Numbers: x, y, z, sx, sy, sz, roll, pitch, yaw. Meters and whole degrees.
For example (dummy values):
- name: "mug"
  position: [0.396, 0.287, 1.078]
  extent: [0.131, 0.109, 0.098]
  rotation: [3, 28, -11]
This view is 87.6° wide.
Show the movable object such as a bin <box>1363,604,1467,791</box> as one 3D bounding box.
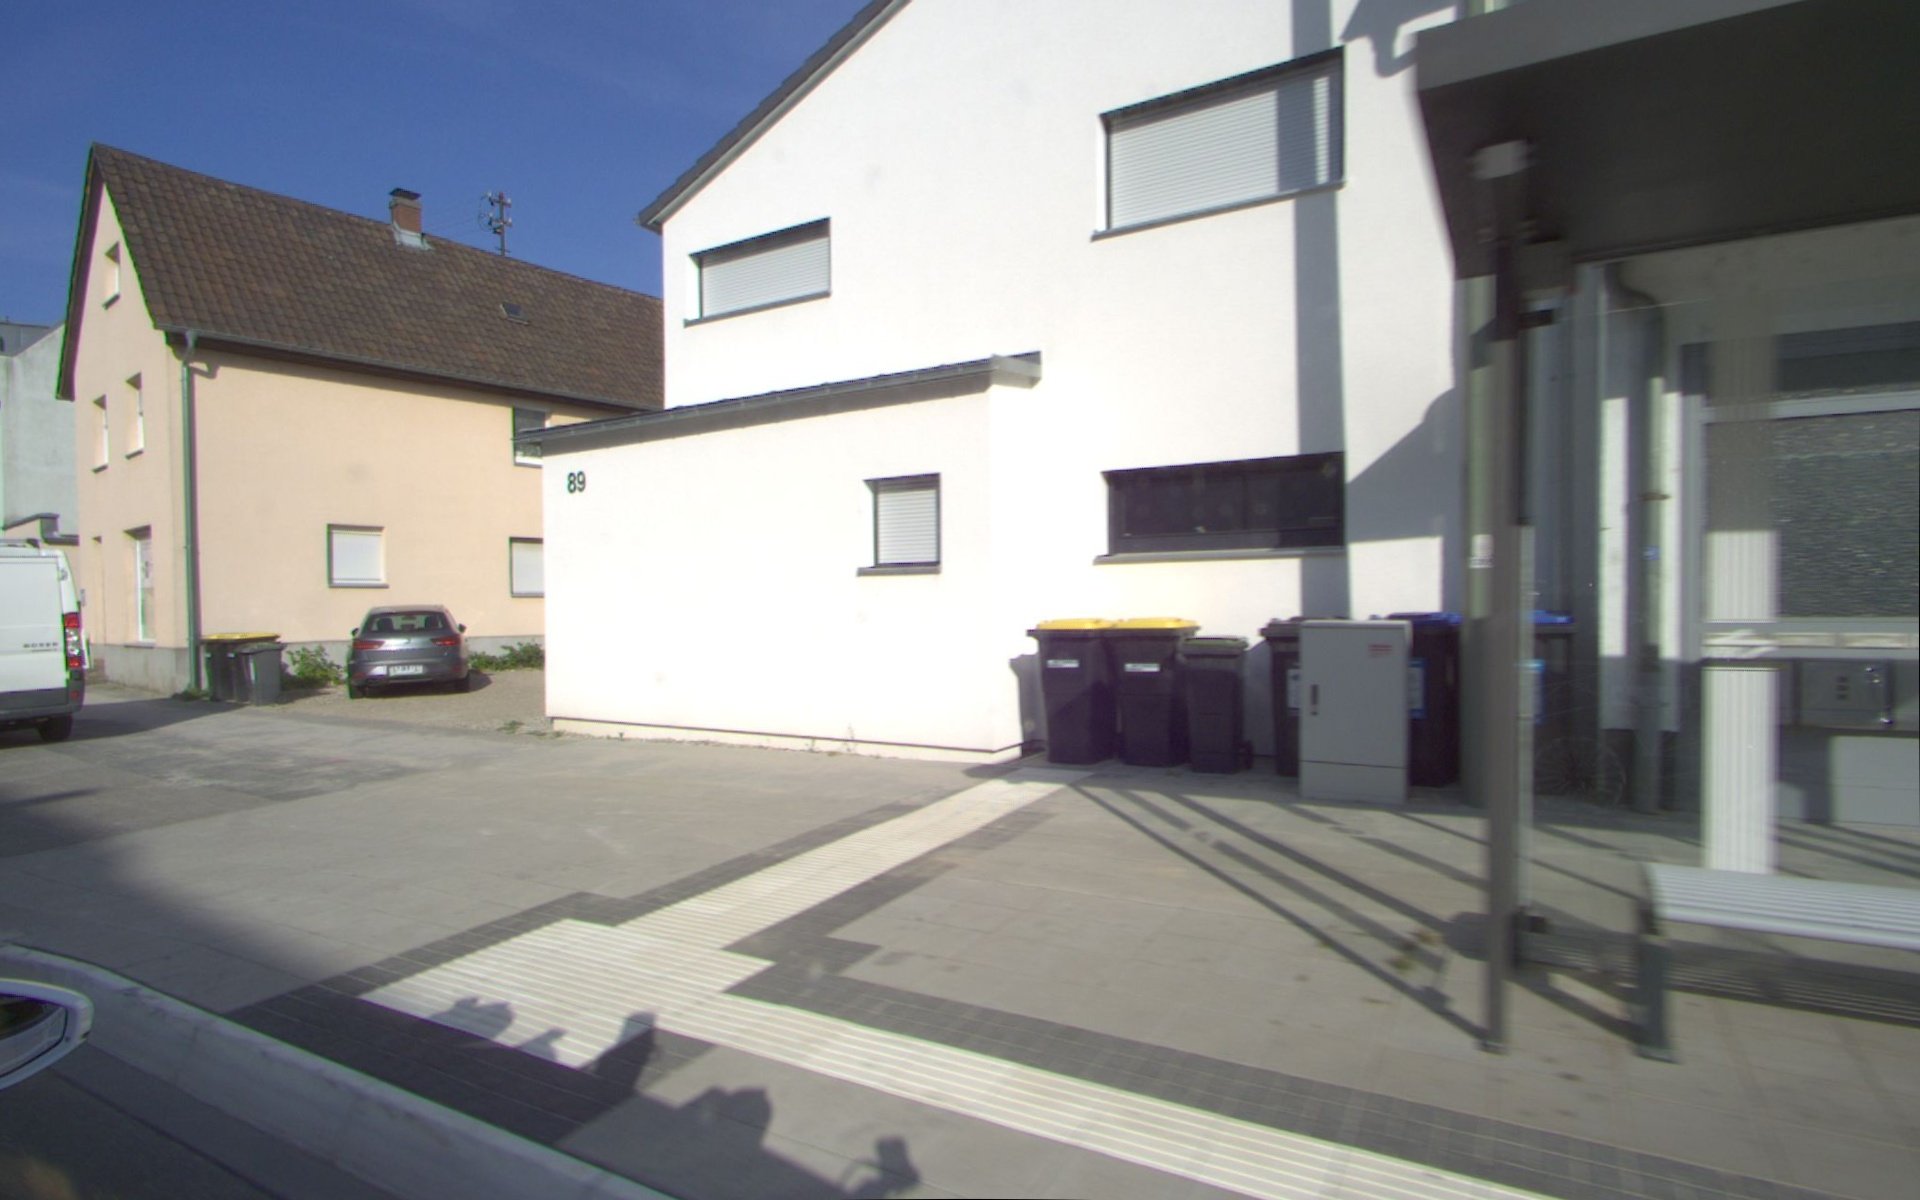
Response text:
- name: "movable object such as a bin"
  position: [2.930, 0.588, 6.428]
  extent: [0.550, 1.108, 0.695]
  rotation: [0, 1, 30]

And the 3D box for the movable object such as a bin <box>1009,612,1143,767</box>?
- name: "movable object such as a bin"
  position: [0.915, 0.656, 7.807]
  extent: [0.756, 1.108, 0.810]
  rotation: [0, 1, 32]

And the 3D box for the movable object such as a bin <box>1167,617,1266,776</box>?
- name: "movable object such as a bin"
  position: [1.857, 0.658, 7.204]
  extent: [0.463, 1.050, 0.810]
  rotation: [0, 1, 31]

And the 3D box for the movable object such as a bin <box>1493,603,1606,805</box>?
- name: "movable object such as a bin"
  position: [3.519, 0.581, 5.984]
  extent: [0.551, 1.108, 0.694]
  rotation: [0, 1, 32]

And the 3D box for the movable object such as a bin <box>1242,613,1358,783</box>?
- name: "movable object such as a bin"
  position: [2.357, 0.636, 6.907]
  extent: [0.593, 1.073, 0.810]
  rotation: [0, 1, 32]

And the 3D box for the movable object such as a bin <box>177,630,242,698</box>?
- name: "movable object such as a bin"
  position: [-12.619, 1.057, 16.833]
  extent: [0.617, 1.107, 0.725]
  rotation: [-1, 0, 36]

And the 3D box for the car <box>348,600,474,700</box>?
- name: "car"
  position: [-9.290, 0.744, 17.010]
  extent: [1.637, 1.426, 3.959]
  rotation: [-2, 1, -29]

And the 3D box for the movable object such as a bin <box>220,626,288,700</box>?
- name: "movable object such as a bin"
  position: [-11.107, 0.977, 15.758]
  extent: [0.546, 1.107, 0.725]
  rotation: [-1, 0, 36]

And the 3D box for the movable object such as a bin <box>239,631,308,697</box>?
- name: "movable object such as a bin"
  position: [-10.543, 0.966, 15.383]
  extent: [0.546, 0.971, 0.725]
  rotation: [-1, 0, 36]

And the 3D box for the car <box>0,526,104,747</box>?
- name: "car"
  position: [-12.345, 0.416, 11.902]
  extent: [4.932, 2.359, 2.167]
  rotation: [0, 2, 36]

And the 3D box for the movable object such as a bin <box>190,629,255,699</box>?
- name: "movable object such as a bin"
  position: [-12.129, 1.033, 16.480]
  extent: [0.546, 1.107, 0.725]
  rotation: [-1, 0, 36]

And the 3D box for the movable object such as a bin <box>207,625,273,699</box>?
- name: "movable object such as a bin"
  position: [-11.595, 0.982, 16.122]
  extent: [0.546, 1.147, 0.725]
  rotation: [-1, 0, 36]

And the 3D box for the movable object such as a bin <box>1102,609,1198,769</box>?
- name: "movable object such as a bin"
  position: [1.428, 0.628, 7.470]
  extent: [0.436, 1.108, 0.810]
  rotation: [0, 1, 31]
